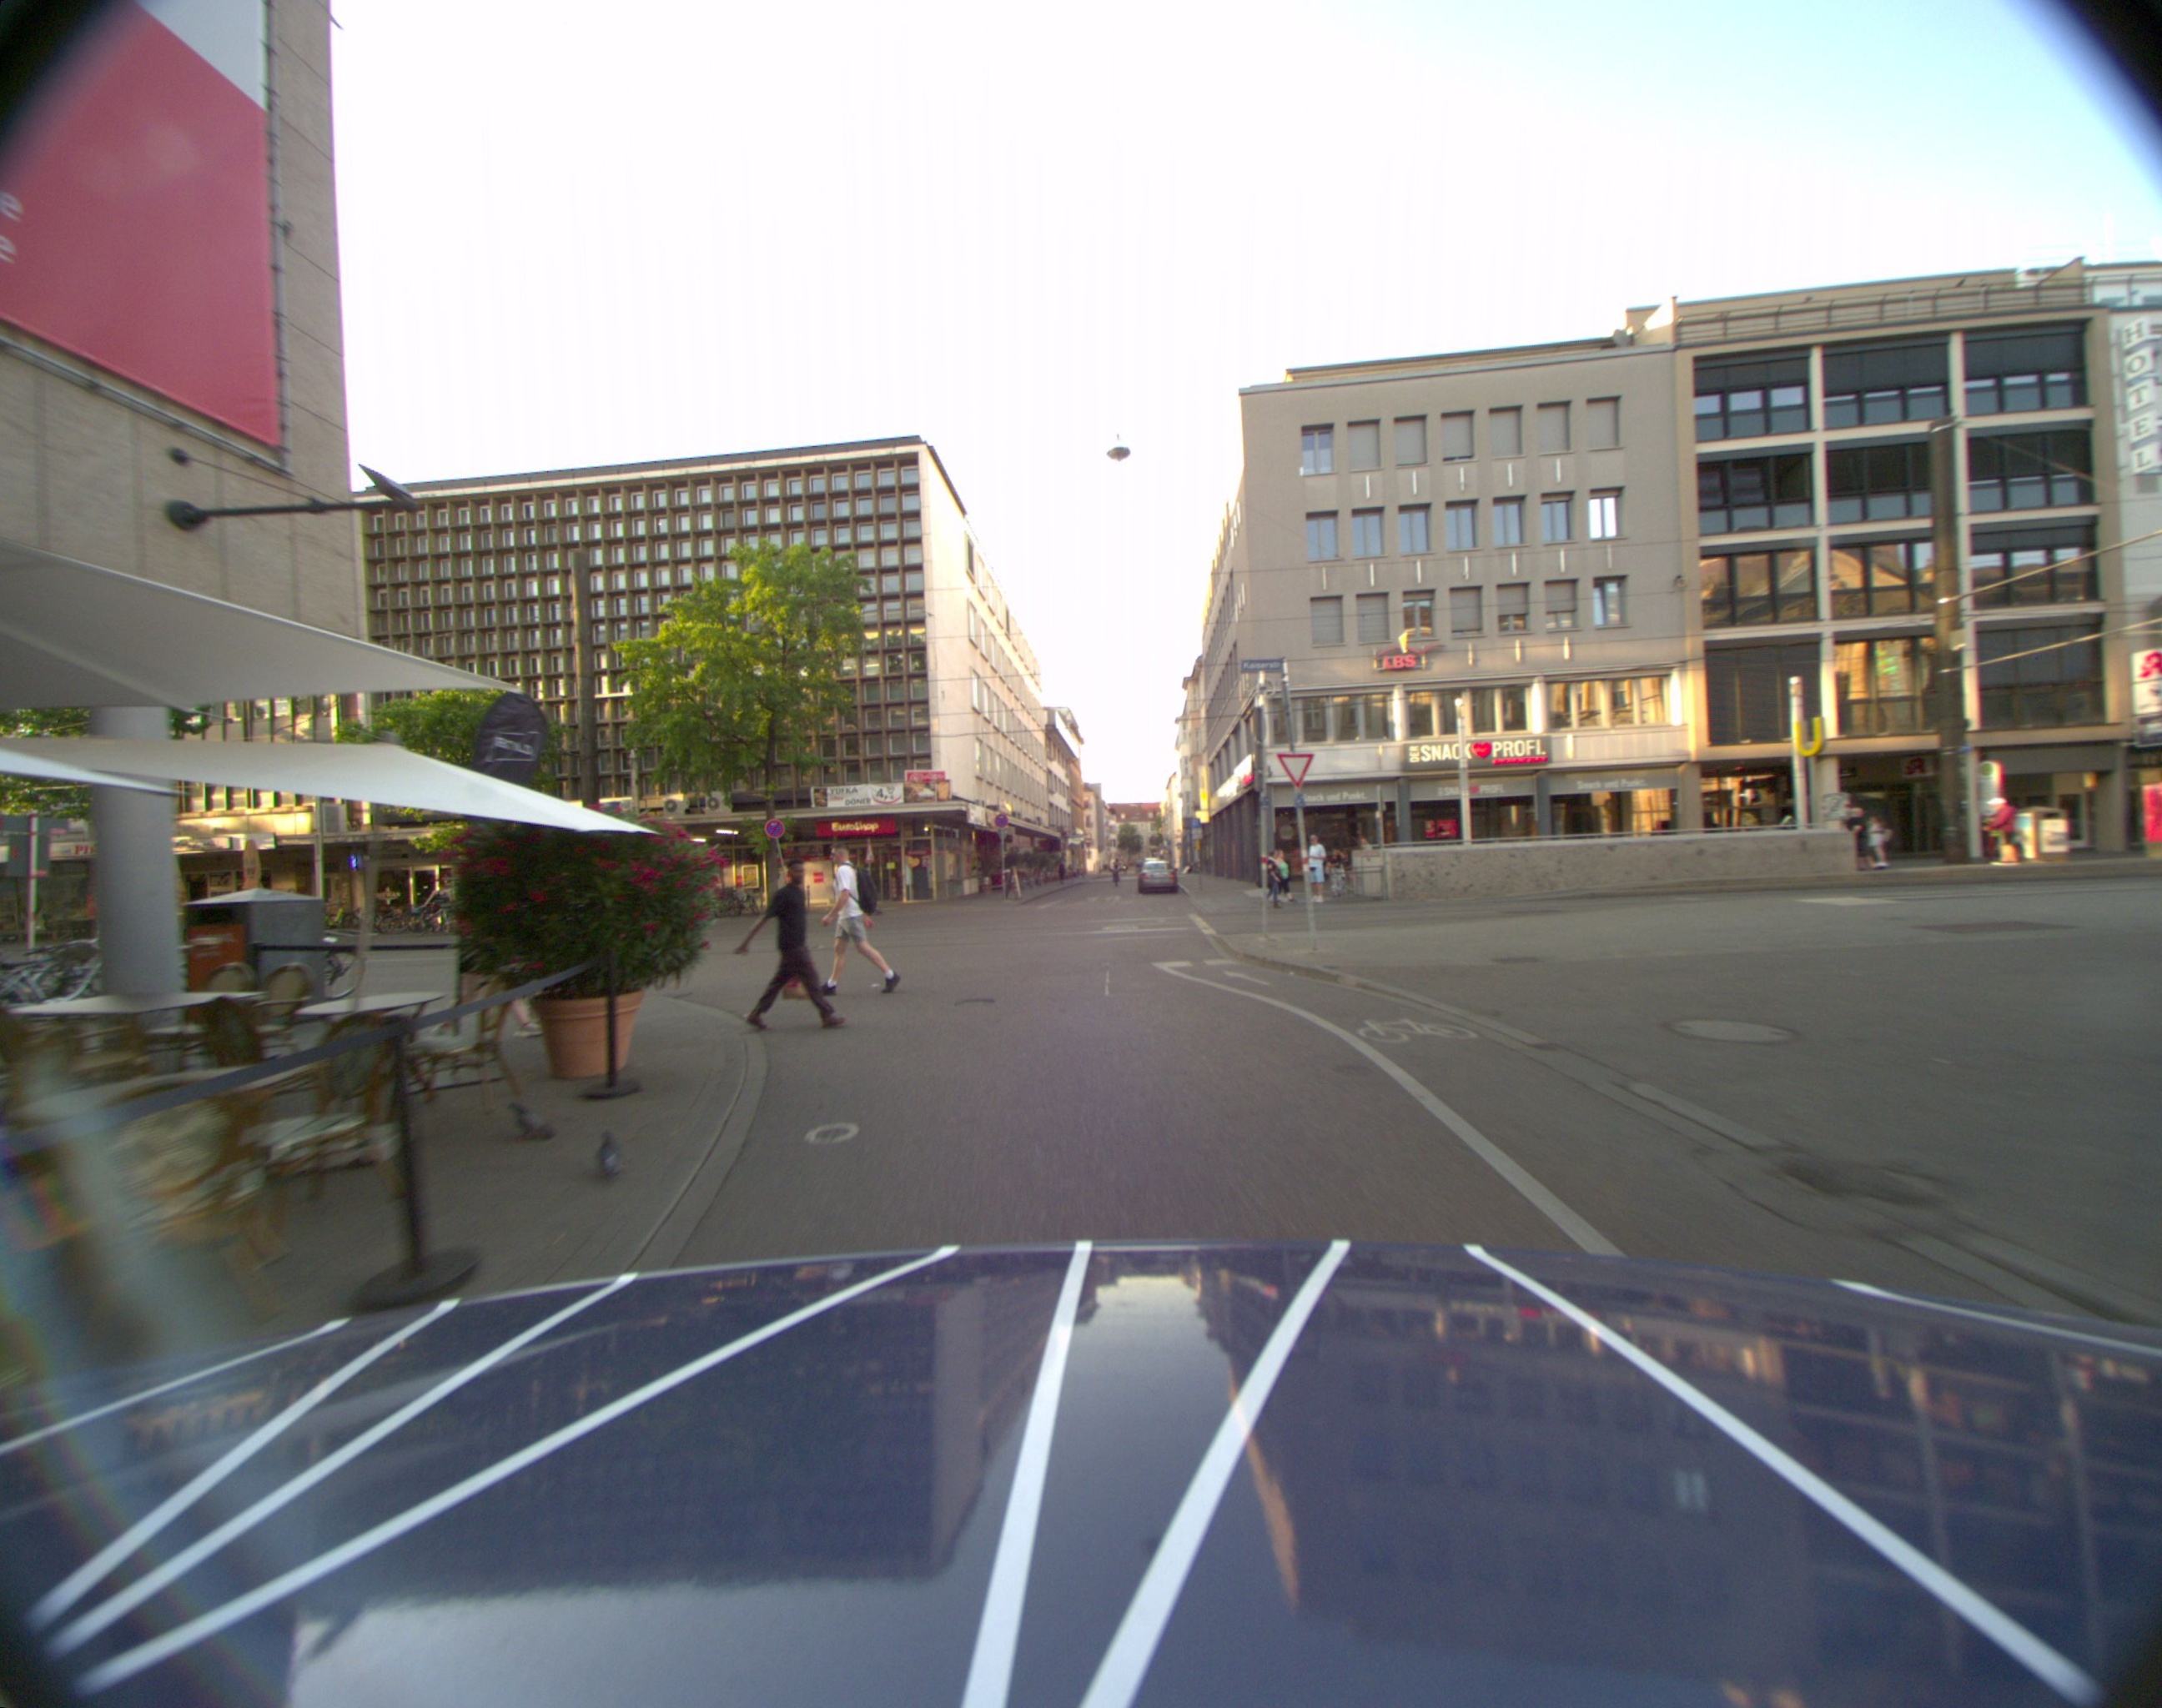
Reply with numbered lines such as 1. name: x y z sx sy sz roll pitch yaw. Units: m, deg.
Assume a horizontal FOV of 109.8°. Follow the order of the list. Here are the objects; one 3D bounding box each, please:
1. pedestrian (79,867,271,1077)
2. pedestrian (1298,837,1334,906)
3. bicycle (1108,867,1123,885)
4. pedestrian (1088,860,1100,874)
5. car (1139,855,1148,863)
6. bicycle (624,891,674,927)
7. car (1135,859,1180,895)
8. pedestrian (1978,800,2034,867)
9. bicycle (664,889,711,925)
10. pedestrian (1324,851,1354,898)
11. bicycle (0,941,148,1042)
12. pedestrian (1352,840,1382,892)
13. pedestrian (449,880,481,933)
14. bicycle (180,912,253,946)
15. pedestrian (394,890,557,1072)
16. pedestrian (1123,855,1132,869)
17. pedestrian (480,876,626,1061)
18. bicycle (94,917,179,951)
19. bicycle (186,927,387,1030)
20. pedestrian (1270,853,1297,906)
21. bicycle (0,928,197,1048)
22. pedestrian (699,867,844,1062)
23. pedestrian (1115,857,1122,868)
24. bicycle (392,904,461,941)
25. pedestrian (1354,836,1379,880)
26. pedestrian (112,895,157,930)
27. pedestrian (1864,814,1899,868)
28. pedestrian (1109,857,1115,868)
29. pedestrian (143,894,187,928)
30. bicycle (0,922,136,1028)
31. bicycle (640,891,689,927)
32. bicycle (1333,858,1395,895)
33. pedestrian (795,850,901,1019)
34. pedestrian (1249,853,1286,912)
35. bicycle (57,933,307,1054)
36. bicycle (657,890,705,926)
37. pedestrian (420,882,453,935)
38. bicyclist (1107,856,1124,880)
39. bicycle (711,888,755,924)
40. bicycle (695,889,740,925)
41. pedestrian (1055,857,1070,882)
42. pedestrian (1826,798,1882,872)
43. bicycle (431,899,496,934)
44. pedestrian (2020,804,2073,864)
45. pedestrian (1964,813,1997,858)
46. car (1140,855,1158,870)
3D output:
1. pedestrian: -8.117 1.015 6.845 0.773 1.761 0.776 -2 -1 4
2. pedestrian: 6.732 0.491 21.762 0.709 1.915 0.775 -2 0 -3
3. bicycle: 2.213 1.381 48.141 0.817 1.066 2.115 -2 -2 5
4. pedestrian: 1.723 1.699 99.428 1.298 1.651 1.015 -3 0 7
5. car: 13.264 1.082 161.245 1.798 1.501 4.002 -2 0 6
6. bicycle: -14.813 1.876 26.094 0.489 1.039 1.778 -3 1 5
7. car: 3.505 1.004 35.360 1.798 1.501 4.134 -2 0 3
8. pedestrian: 24.023 -0.519 19.747 0.784 1.687 0.717 -2 0 41
9. bicycle: -13.427 1.809 25.994 0.489 1.039 1.778 -3 1 5
10. pedestrian: 8.025 0.644 23.642 0.683 1.425 0.556 -2 0 43
11. bicycle: -12.969 1.685 9.278 0.762 1.071 1.922 -3 -2 1
12. pedestrian: 9.689 0.402 25.774 0.709 1.715 0.716 -2 0 3
13. pedestrian: -20.422 1.746 25.196 0.534 1.689 0.604 -3 1 34
14. bicycle: -30.600 2.641 26.928 0.489 0.984 1.777 -4 1 0
15. pedestrian: -5.534 1.120 6.995 0.810 1.527 0.805 -2 -1 1
16. pedestrian: 5.629 0.918 92.412 0.870 1.651 0.931 -3 0 9
17. pedestrian: -5.160 1.078 7.478 0.810 1.684 0.805 -2 -1 1
18. bicycle: -33.664 2.849 27.113 0.488 0.960 1.780 -1 2 22
19. bicycle: -10.516 1.604 10.174 0.666 1.102 1.859 -3 -2 3
20. pedestrian: 5.796 0.725 21.748 0.555 1.485 0.605 -2 0 -3
21. bicycle: -12.230 1.574 9.212 0.762 1.215 1.922 -3 -2 1
22. pedestrian: -2.905 1.001 7.233 0.997 1.687 0.772 -3 1 -3
23. pedestrian: 5.650 1.249 114.357 0.976 1.651 0.978 -3 0 5
24. bicycle: -21.080 2.196 24.481 1.776 1.039 0.489 -3 1 2
25. pedestrian: 11.382 0.154 30.321 0.709 1.715 0.716 -2 0 3
26. pedestrian: -38.948 2.403 31.271 0.911 1.318 0.672 -2 3 4
27. pedestrian: 23.798 -0.372 22.586 0.606 1.579 0.626 -2 0 -37
28. pedestrian: 4.682 1.288 114.507 0.870 1.651 0.931 -3 0 5
29. pedestrian: -37.746 2.350 31.328 0.911 1.318 0.672 -2 3 4
30. bicycle: -14.500 1.651 10.396 0.725 1.324 1.922 -3 -2 1
31. bicycle: -14.245 1.854 26.043 0.489 1.039 1.778 -3 1 5
32. bicycle: 9.365 0.749 25.214 1.797 1.101 0.500 -4 0 10
33. pedestrian: -2.748 0.901 9.103 1.043 1.852 1.016 -2 1 -11
34. pedestrian: 4.978 0.755 20.267 0.606 1.532 0.684 -2 0 -37
35. bicycle: -10.405 1.565 8.921 0.666 1.102 1.859 -3 -2 3
36. bicycle: -13.668 1.831 26.018 0.489 1.039 1.778 -3 1 5
37. pedestrian: -21.013 1.772 24.775 0.534 1.689 0.604 -3 1 34
38. bicyclist: 2.202 0.885 48.163 0.999 1.493 0.857 -2 -1 4
39. bicycle: -11.797 1.757 25.819 0.489 1.039 1.778 -3 1 5
40. bicycle: -12.372 1.774 25.905 0.489 1.039 1.778 -3 1 5
41. pedestrian: -1.329 1.096 54.039 0.870 1.651 0.931 -3 0 8
42. pedestrian: 20.518 -0.485 20.191 0.709 1.913 0.716 -2 0 0
43. bicycle: -21.135 2.134 26.017 1.776 1.039 0.489 -3 1 2
44. pedestrian: 26.512 -0.538 20.875 0.604 1.579 0.629 -2 0 13
45. pedestrian: 31.025 -0.638 26.203 0.517 1.538 0.510 -2 0 -3
46. car: 7.199 0.866 80.546 1.798 1.501 4.002 -2 0 6
